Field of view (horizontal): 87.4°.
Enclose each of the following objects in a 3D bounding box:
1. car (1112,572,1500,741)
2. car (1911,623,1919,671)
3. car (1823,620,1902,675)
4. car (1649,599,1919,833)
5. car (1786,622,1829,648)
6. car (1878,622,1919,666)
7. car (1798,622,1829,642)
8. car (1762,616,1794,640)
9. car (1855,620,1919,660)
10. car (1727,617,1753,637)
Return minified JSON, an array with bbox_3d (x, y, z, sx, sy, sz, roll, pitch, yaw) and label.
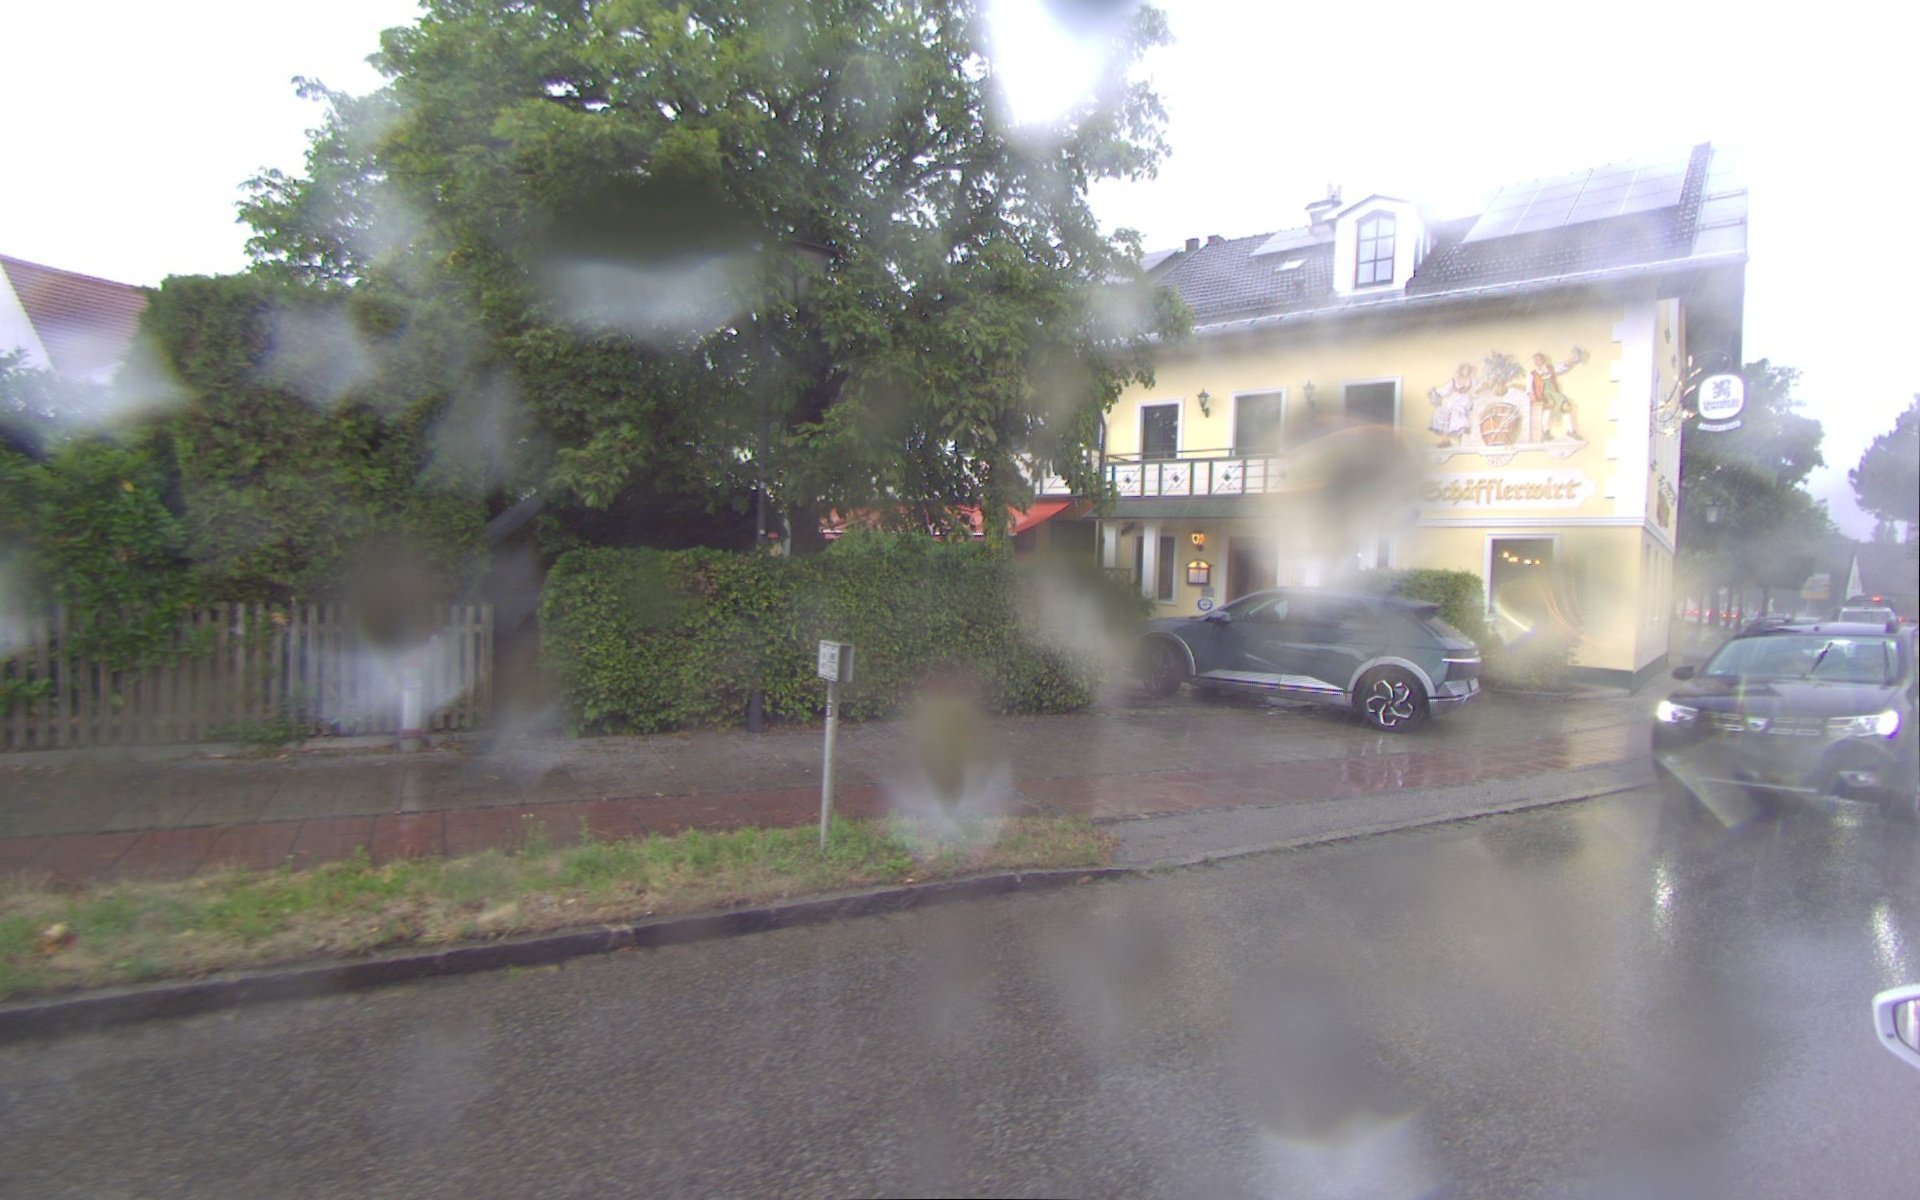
[{"bbox_3d":[4.437,0.575,13.223,4.417,1.589,1.832,6,5,36],"label":"car"},{"bbox_3d":[39.826,1.968,40.068,2.142,1.925,4.994,3,2,37],"label":"car"},{"bbox_3d":[35.007,1.806,39.064,1.827,1.997,4.685,0,-1,36],"label":"car"},{"bbox_3d":[7.556,0.857,8.760,3.507,1.631,1.574,2,-1,-38],"label":"car"},{"bbox_3d":[50.462,2.064,59.849,1.840,1.377,4.463,0,0,39],"label":"car"},{"bbox_3d":[45.942,2.104,48.287,2.142,1.925,4.994,3,2,37],"label":"car"},{"bbox_3d":[89.778,3.352,105.698,2.142,1.925,4.994,3,2,37],"label":"car"},{"bbox_3d":[62.282,2.140,76.529,1.840,1.781,4.463,-2,-2,39],"label":"car"},{"bbox_3d":[50.986,2.153,55.256,2.142,1.925,4.994,3,2,37],"label":"car"},{"bbox_3d":[72.389,2.526,93.180,1.840,1.781,4.463,-2,-2,39],"label":"car"}]
